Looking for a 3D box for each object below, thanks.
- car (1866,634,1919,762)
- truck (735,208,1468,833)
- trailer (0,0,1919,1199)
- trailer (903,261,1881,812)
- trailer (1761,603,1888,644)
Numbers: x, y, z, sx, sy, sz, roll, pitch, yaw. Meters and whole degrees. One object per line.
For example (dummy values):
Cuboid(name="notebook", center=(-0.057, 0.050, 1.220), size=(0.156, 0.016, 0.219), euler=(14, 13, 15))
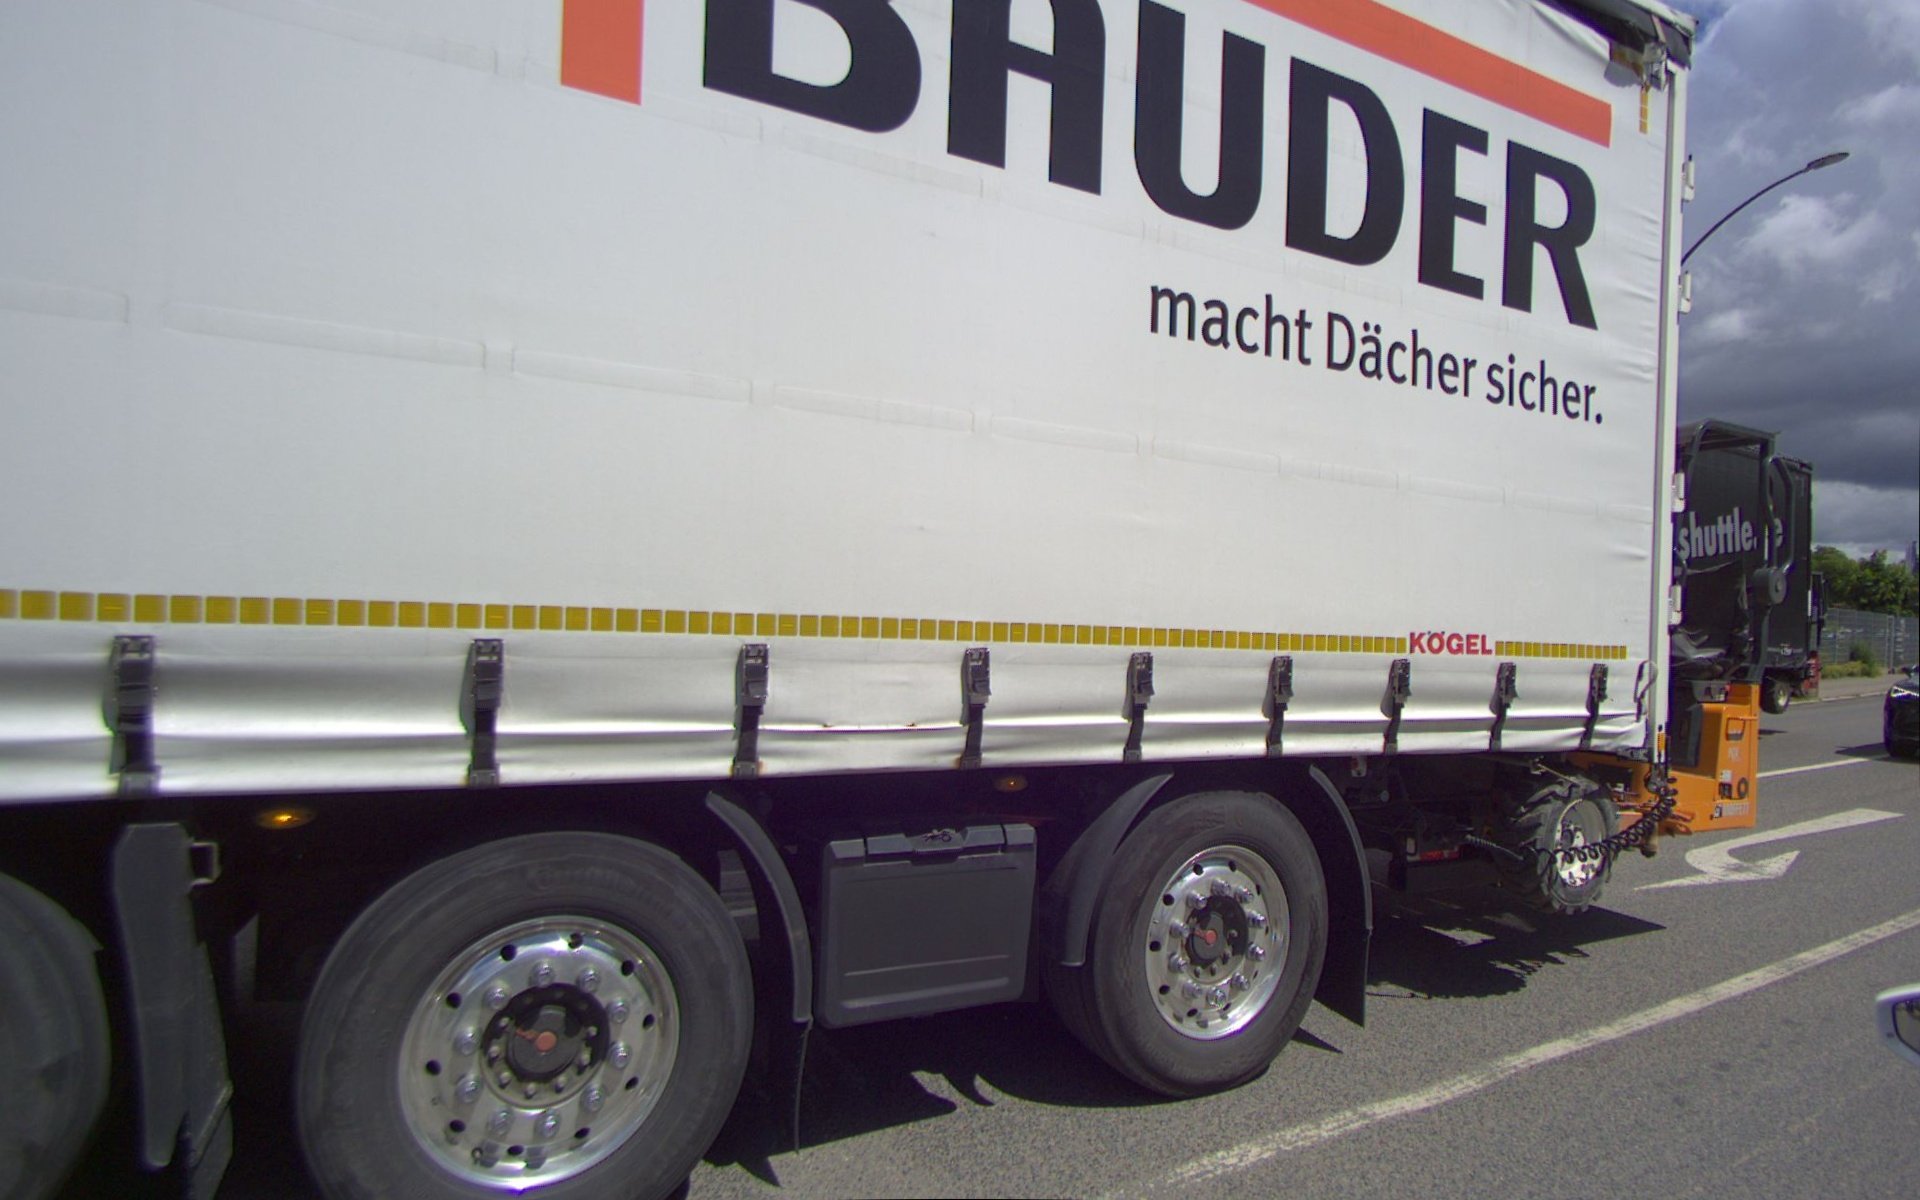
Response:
Cuboid(name="car", center=(13.219, 1.206, 12.626), size=(4.210, 1.482, 1.828), euler=(2, -2, -35))
Cuboid(name="truck", center=(1.489, -0.448, 9.460), size=(6.426, 4.107, 2.785), euler=(2, 0, -31))
Cuboid(name="trailer", center=(-2.820, -0.708, 2.496), size=(15.154, 4.200, 2.761), euler=(2, 0, -27))
Cuboid(name="trailer", center=(6.775, -0.265, 12.662), size=(15.377, 4.107, 2.785), euler=(2, 0, -31))
Cuboid(name="trailer", center=(90.225, 2.431, 105.055), size=(9.572, 4.148, 2.822), euler=(0, -1, 27))
